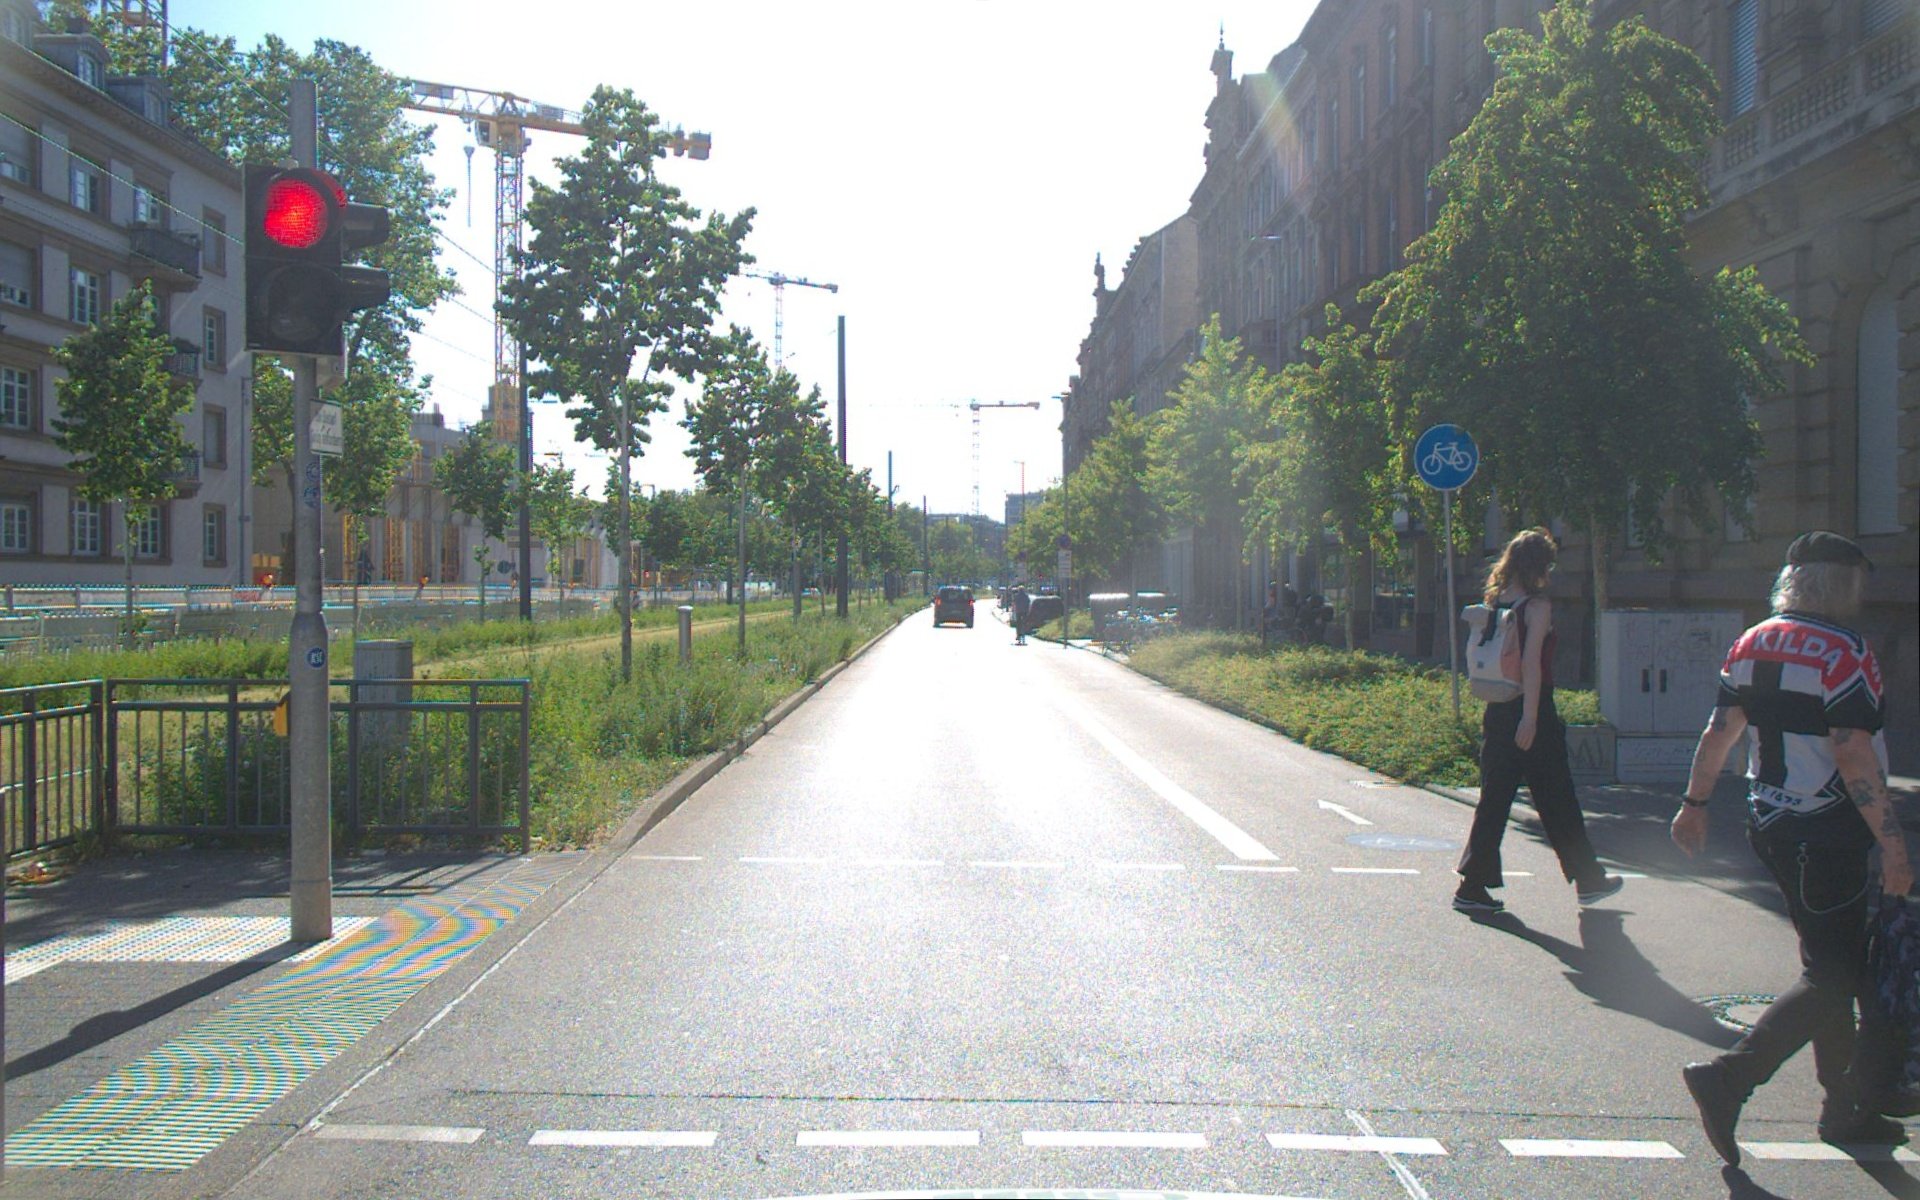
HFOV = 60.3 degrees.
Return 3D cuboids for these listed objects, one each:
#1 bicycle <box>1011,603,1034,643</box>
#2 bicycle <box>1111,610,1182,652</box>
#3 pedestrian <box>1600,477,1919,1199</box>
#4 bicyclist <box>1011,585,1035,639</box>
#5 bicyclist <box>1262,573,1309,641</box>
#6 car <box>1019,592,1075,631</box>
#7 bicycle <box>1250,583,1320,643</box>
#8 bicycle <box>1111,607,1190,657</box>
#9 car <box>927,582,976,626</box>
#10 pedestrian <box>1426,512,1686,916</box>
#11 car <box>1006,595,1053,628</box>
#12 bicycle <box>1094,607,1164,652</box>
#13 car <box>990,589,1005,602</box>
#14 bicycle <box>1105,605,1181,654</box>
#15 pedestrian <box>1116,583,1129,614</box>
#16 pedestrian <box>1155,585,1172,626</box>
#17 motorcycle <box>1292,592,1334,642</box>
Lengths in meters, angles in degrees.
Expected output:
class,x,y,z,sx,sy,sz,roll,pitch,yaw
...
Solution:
class,x,y,z,sx,sy,sz,roll,pitch,yaw
bicycle,2.015,0.727,53.198,0.589,1.201,1.869,2,0,-1
bicycle,4.805,0.804,42.560,1.756,1.048,0.527,0,0,-1
pedestrian,2.434,0.609,4.598,0.848,1.819,0.969,1,0,-7
bicyclist,2.037,0.381,53.443,0.670,1.702,0.922,2,0,-2
bicyclist,7.750,0.172,39.409,0.652,1.556,0.795,-4,0,-23
car,3.512,0.459,67.521,1.987,1.525,4.653,0,0,-1
bicycle,7.735,0.317,39.459,0.607,1.353,1.886,-4,0,-23
bicycle,4.563,0.767,39.595,1.756,1.048,0.527,-4,0,-1
car,-0.428,0.178,76.348,2.155,1.960,4.653,0,0,-1
pedestrian,2.986,0.540,8.342,1.055,1.942,0.652,0,0,-7
car,3.342,0.514,79.814,1.987,1.525,4.529,0,0,-1
bicycle,4.503,0.788,44.075,1.756,1.048,0.527,-4,0,-1
car,5.170,-0.636,229.243,1.953,1.759,3.999,1,0,-1
bicycle,4.533,0.729,41.065,1.756,1.048,0.527,-4,0,-1
pedestrian,8.511,-0.089,86.858,0.601,1.640,0.669,0,0,-1
pedestrian,8.372,0.223,68.195,0.601,1.640,0.669,0,0,-1
motorcycle,9.445,0.449,44.292,0.686,1.289,1.981,0,0,-1
